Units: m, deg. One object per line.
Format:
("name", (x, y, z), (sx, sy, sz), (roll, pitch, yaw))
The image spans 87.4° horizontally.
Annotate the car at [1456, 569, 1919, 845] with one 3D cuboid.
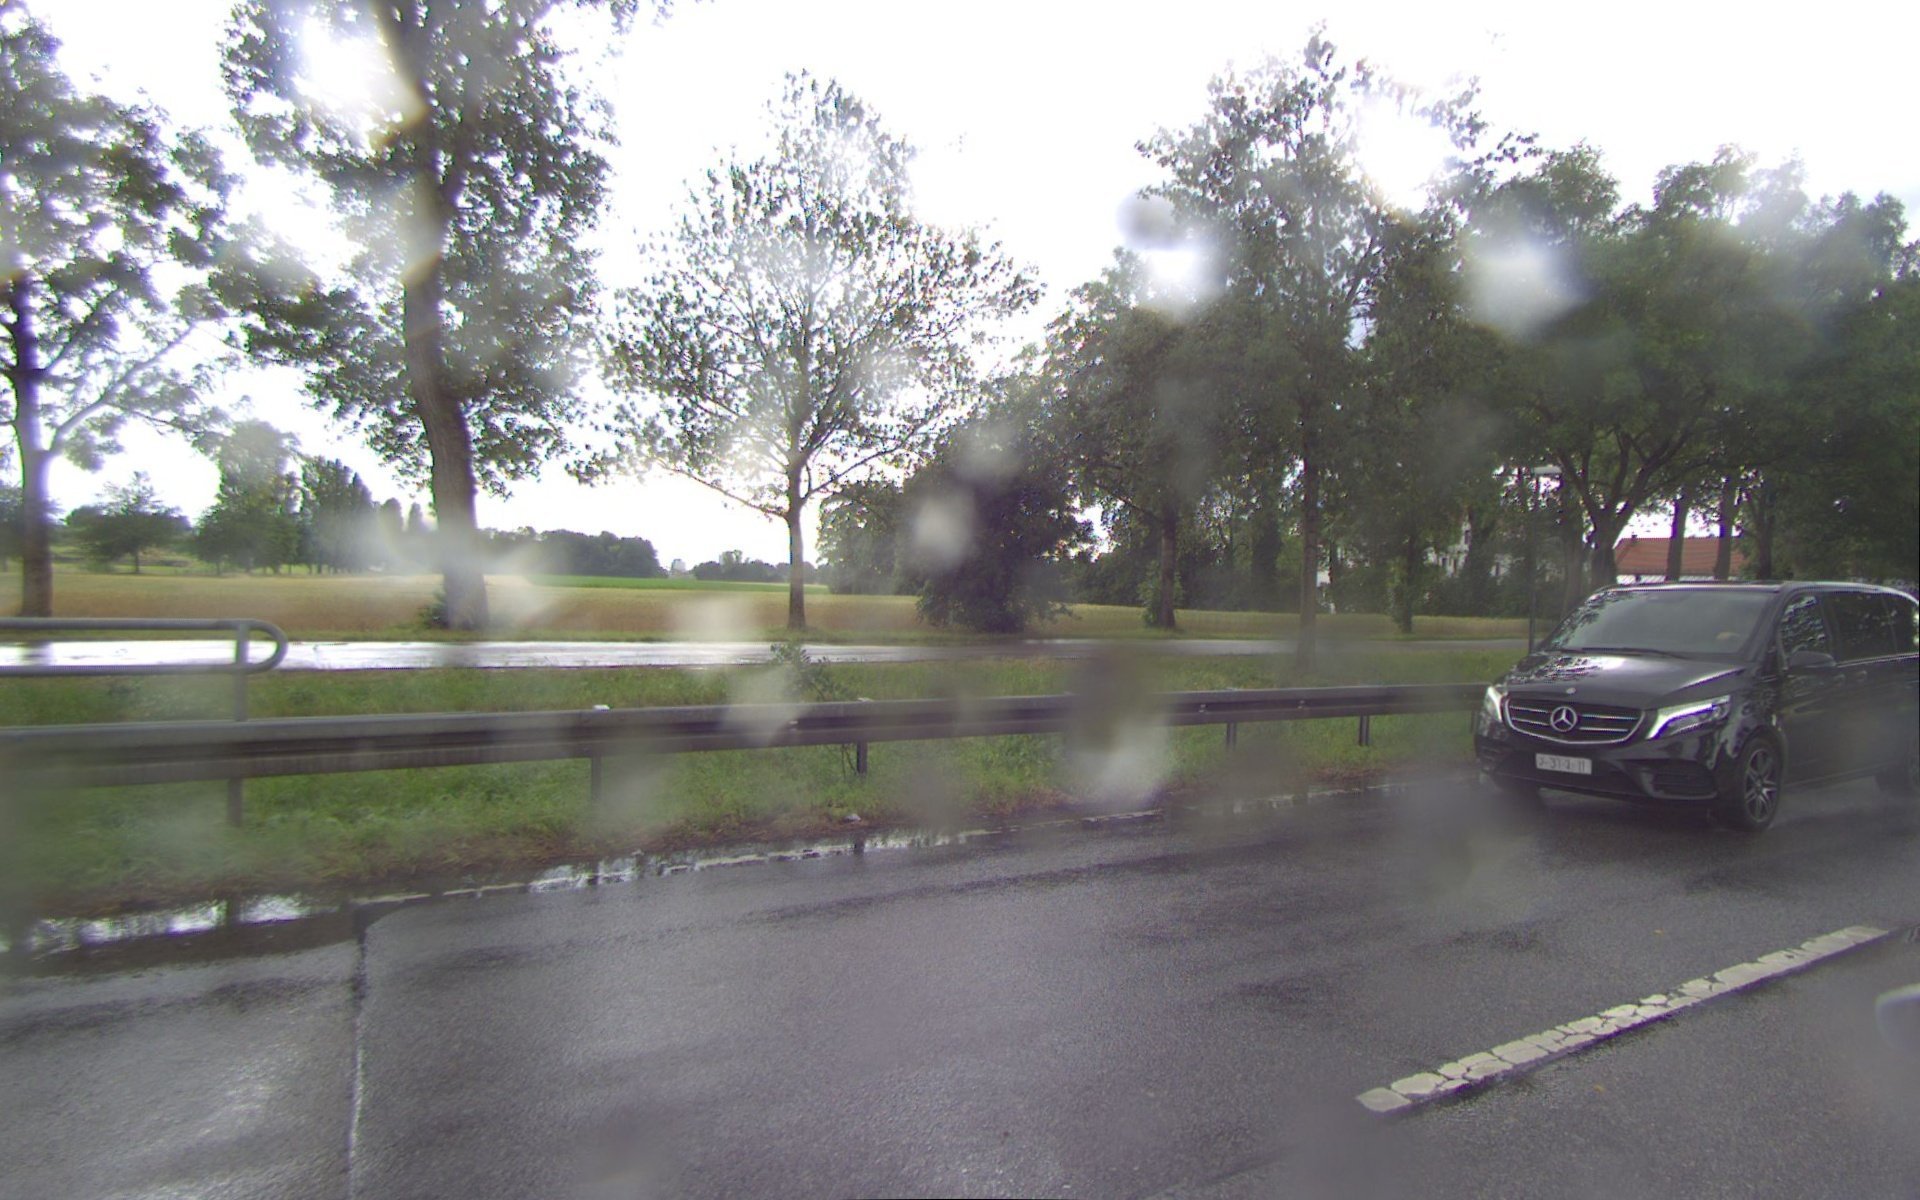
("car", (6.406, 0.756, 8.555), (4.363, 1.826, 1.819), (1, -1, -30))
